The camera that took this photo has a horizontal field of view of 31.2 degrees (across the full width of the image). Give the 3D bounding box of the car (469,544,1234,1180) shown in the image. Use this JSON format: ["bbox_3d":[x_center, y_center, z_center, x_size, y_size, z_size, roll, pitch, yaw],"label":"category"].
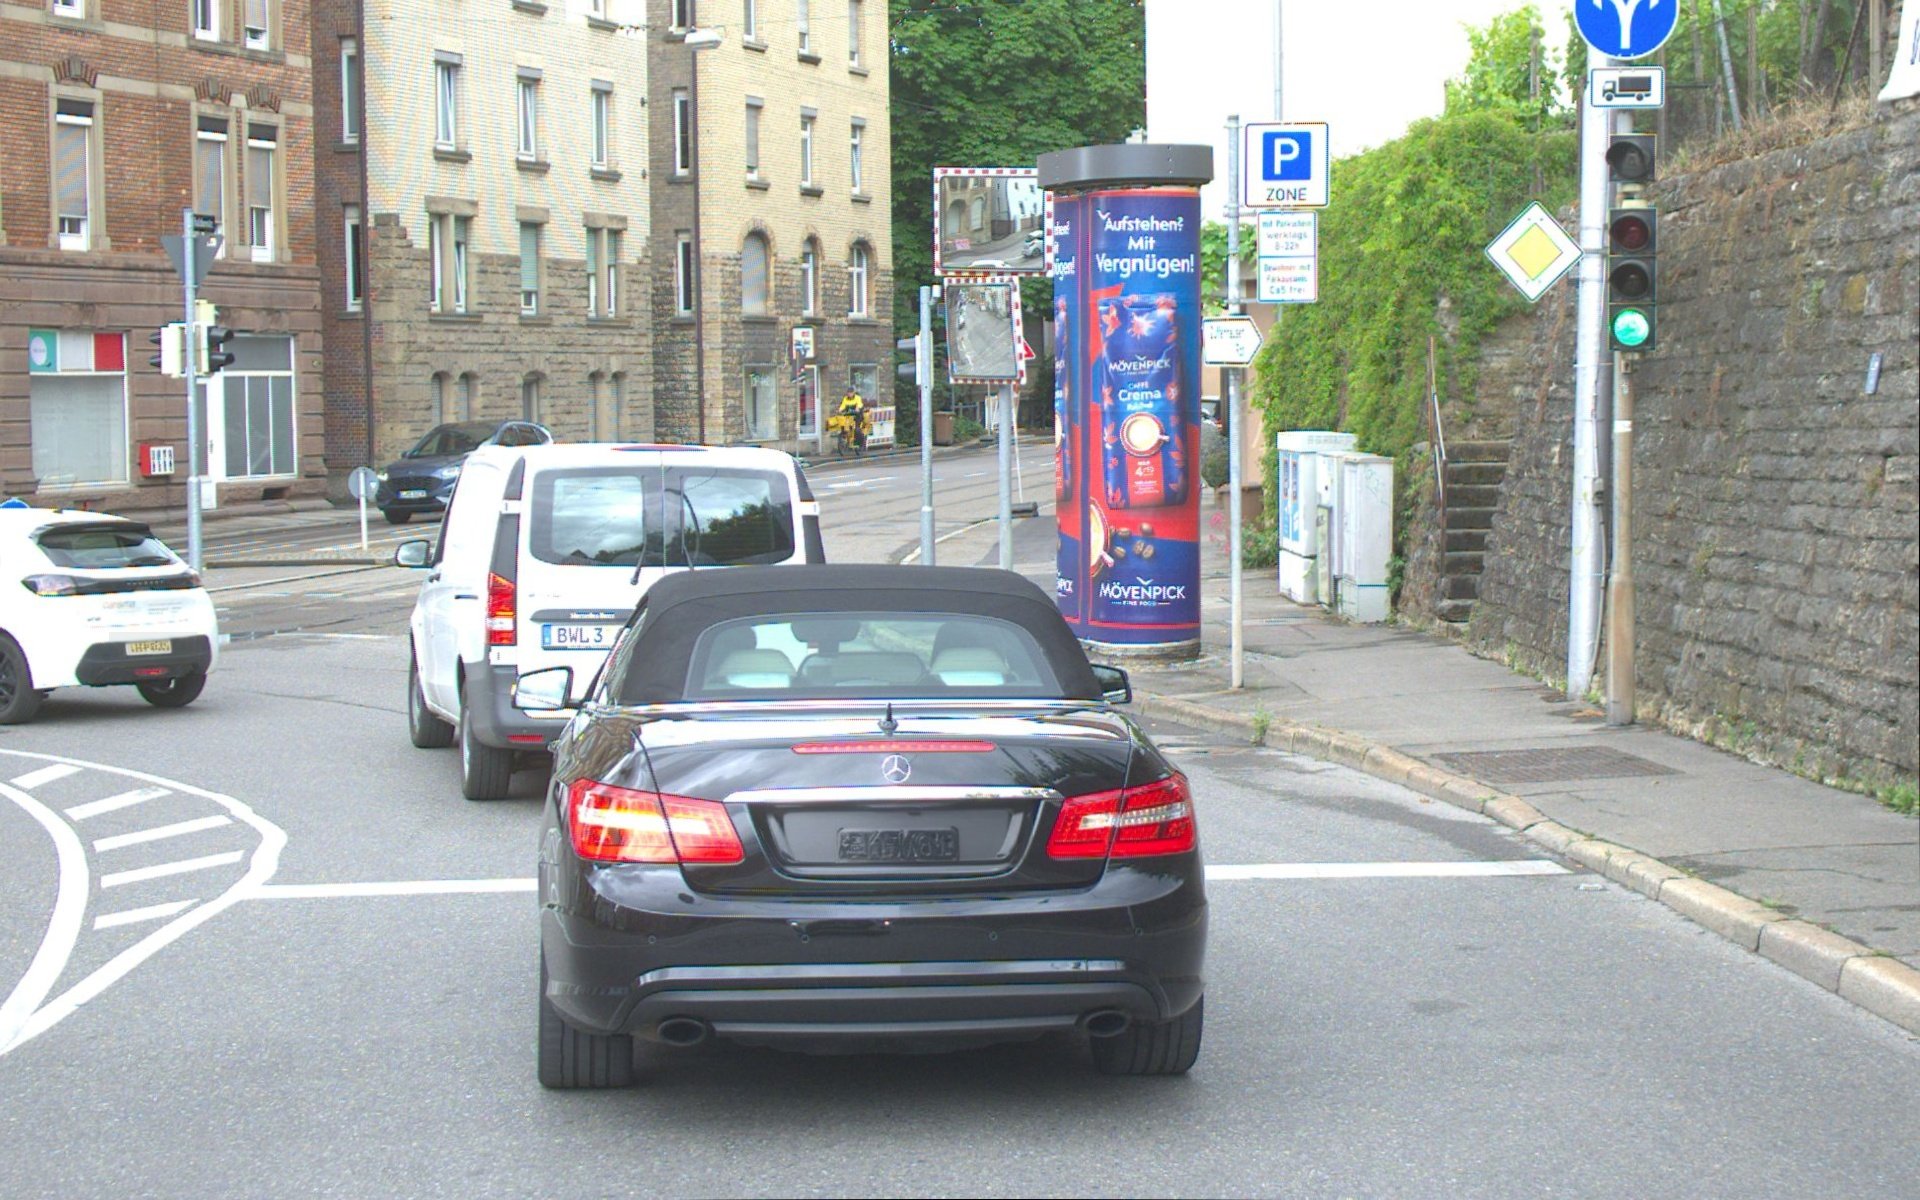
[{"bbox_3d":[-0.274,0.589,10.392,1.761,1.404,4.399,-3,1,0],"label":"car"}]

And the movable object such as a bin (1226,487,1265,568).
[{"bbox_3d":[3.221,-0.817,38.797,0.343,0.908,0.495,0,1,-6],"label":"movable object such as a bin"}]

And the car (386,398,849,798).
[{"bbox_3d":[-2.085,-0.052,19.553,1.891,1.922,4.647,-3,1,-14],"label":"car"}]

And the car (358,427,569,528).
[{"bbox_3d":[-8.435,-2.127,58.820,1.995,1.509,4.284,0,4,15],"label":"car"}]

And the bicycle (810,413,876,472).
[{"bbox_3d":[-2.768,-3.760,81.736,0.632,1.302,2.597,-3,3,18],"label":"bicycle"}]

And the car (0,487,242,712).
[{"bbox_3d":[-7.177,0.021,24.581,3.913,1.461,1.683,-2,2,34],"label":"car"}]

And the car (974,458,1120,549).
[{"bbox_3d":[1.864,-2.053,72.380,1.951,1.712,3.997,-2,3,18],"label":"car"}]
